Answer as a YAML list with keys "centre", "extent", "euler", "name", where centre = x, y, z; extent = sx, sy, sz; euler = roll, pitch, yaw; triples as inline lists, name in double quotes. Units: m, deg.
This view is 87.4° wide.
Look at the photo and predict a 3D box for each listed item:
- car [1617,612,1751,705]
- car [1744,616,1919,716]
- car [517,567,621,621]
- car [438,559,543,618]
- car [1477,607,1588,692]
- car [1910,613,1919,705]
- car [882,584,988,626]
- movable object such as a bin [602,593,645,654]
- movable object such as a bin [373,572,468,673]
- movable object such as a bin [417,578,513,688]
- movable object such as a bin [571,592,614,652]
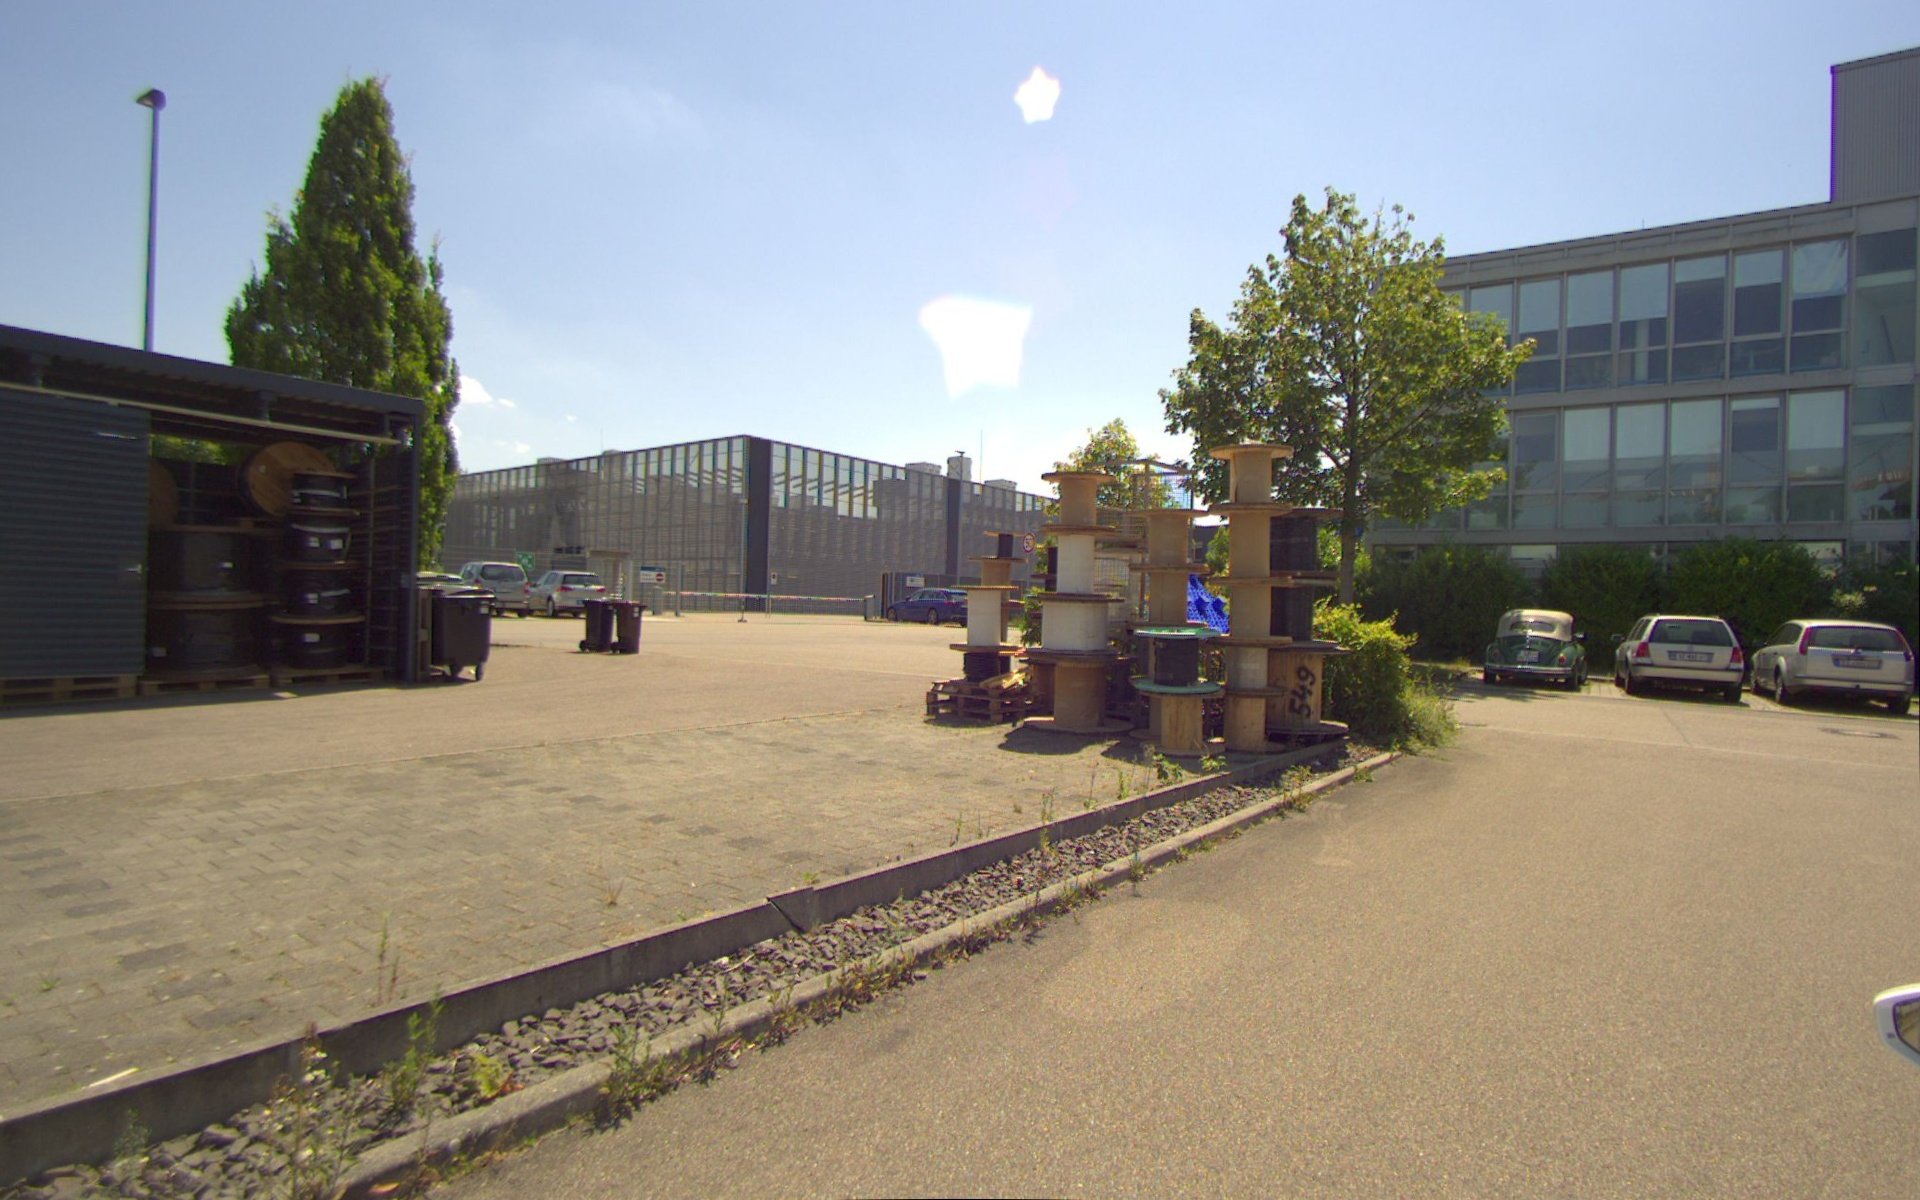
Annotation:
- centre: [13.448, 1.005, 18.853]
  extent: [1.707, 1.468, 3.645]
  euler: [3, 1, 31]
  name: "car"
- centre: [15.494, 1.091, 18.061]
  extent: [1.740, 1.468, 3.645]
  euler: [3, 1, 31]
  name: "car"
- centre: [-12.568, -0.228, 32.139]
  extent: [1.983, 1.511, 3.955]
  euler: [4, 0, -38]
  name: "car"
- centre: [-14.419, -0.379, 30.742]
  extent: [1.983, 1.611, 3.955]
  euler: [4, 0, -38]
  name: "car"
- centre: [11.476, 0.901, 20.034]
  extent: [1.521, 1.468, 3.641]
  euler: [3, 1, 35]
  name: "car"
- centre: [17.287, 1.089, 16.463]
  extent: [1.902, 1.632, 3.972]
  euler: [3, 1, 36]
  name: "car"
- centre: [-1.080, 0.177, 40.394]
  extent: [1.982, 1.511, 4.464]
  euler: [1, 1, -38]
  name: "car"
- centre: [-5.985, 0.418, 17.876]
  extent: [0.567, 1.050, 0.426]
  euler: [2, 0, 4]
  name: "movable object such as a bin"
- centre: [-7.480, 0.302, 13.937]
  extent: [0.700, 1.347, 0.968]
  euler: [2, 0, 43]
  name: "movable object such as a bin"
- centre: [-6.443, 0.414, 13.080]
  extent: [0.802, 1.362, 0.879]
  euler: [2, 0, 43]
  name: "movable object such as a bin"
- centre: [-6.558, 0.385, 17.938]
  extent: [0.570, 1.041, 0.426]
  euler: [2, 0, 4]
  name: "movable object such as a bin"
